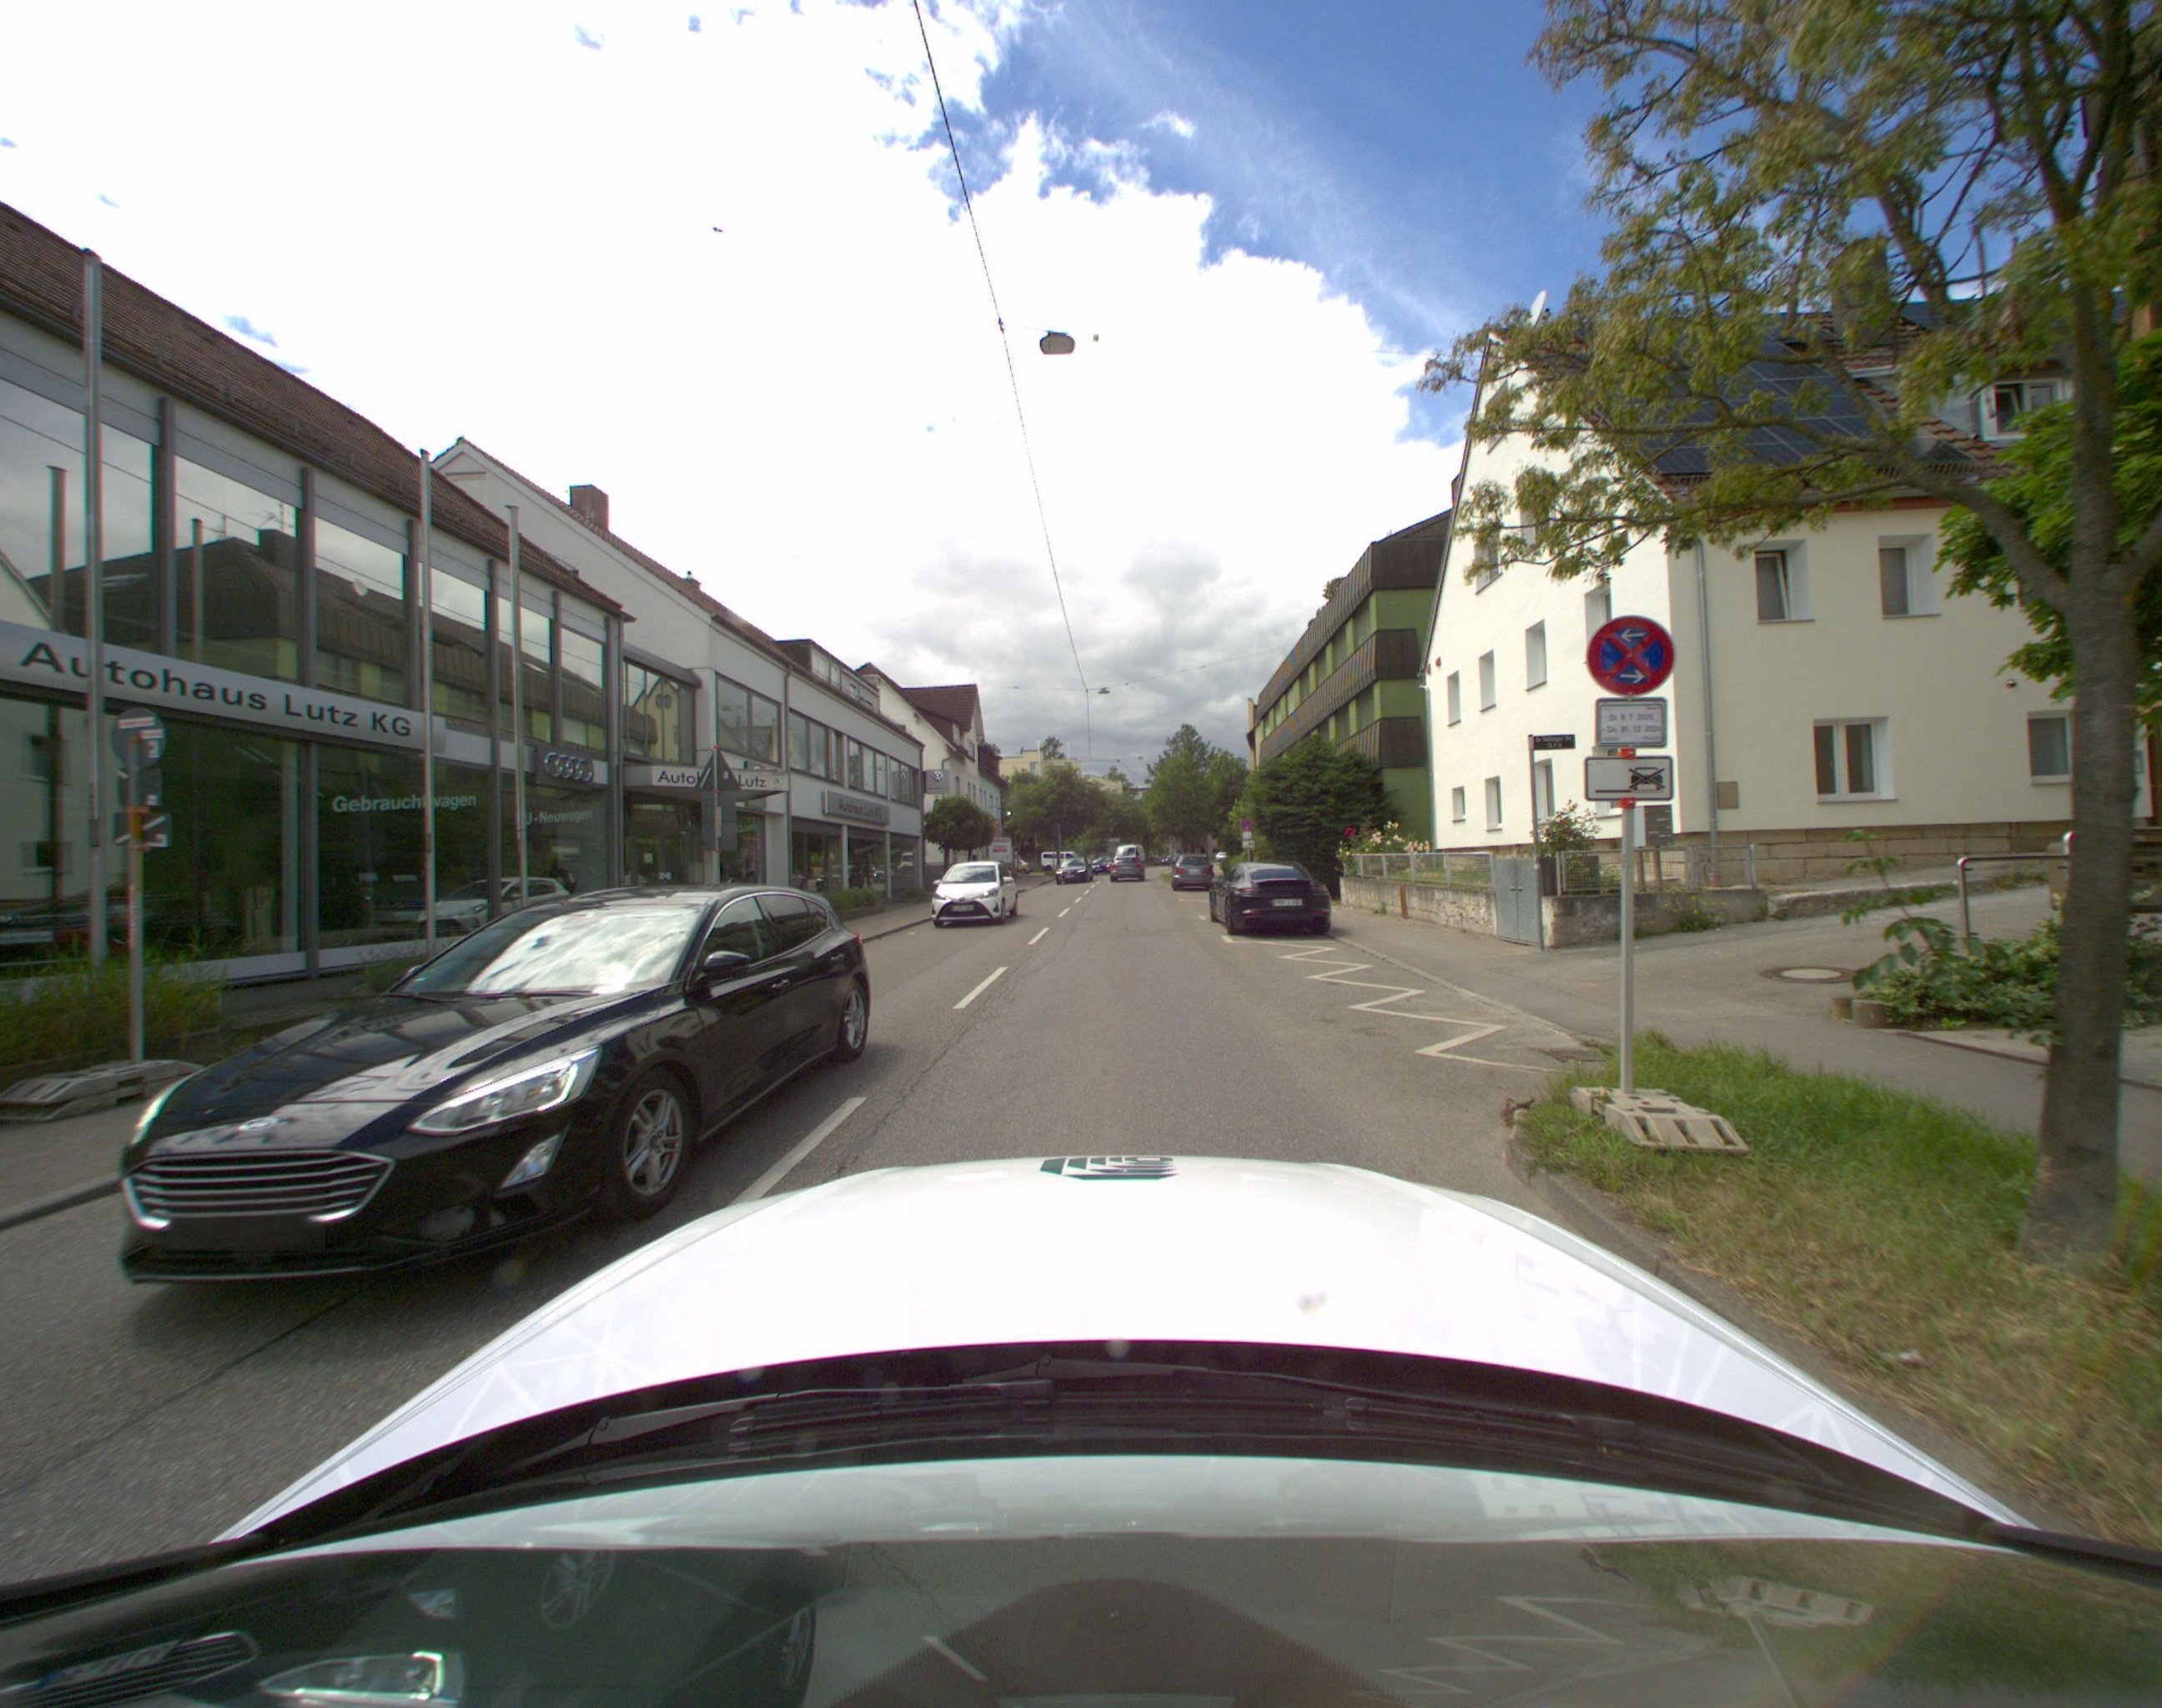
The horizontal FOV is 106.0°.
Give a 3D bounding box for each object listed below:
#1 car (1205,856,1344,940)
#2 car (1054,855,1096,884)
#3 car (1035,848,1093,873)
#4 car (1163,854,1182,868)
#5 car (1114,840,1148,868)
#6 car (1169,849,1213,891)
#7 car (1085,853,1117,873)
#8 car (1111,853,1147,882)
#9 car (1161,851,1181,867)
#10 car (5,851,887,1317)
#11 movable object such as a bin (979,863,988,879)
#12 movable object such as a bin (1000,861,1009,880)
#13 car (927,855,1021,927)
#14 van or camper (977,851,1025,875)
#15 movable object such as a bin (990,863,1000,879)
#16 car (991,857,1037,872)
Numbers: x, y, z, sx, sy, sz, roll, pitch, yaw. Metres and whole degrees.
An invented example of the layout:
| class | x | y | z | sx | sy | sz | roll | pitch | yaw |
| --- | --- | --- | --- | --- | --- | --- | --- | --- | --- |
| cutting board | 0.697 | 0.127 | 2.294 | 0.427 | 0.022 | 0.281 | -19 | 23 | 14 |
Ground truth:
| class | x | y | z | sx | sy | sz | roll | pitch | yaw |
| --- | --- | --- | --- | --- | --- | --- | --- | --- | --- |
| car | 3.860 | 0.822 | 17.091 | 1.976 | 1.448 | 4.755 | -2 | -1 | 3 |
| car | -0.324 | 0.871 | 48.611 | 1.766 | 1.523 | 4.472 | -4 | -1 | 8 |
| car | -1.686 | 0.631 | 79.806 | 5.168 | 1.993 | 2.119 | -4 | 0 | 20 |
| car | 10.776 | 0.854 | 95.631 | 1.675 | 1.482 | 4.242 | -5 | -1 | 13 |
| car | 4.762 | -0.044 | 77.340 | 2.048 | 2.353 | 5.204 | -5 | 0 | 15 |
| car | 4.863 | 0.667 | 36.344 | 1.682 | 1.666 | 4.469 | -2 | 1 | 5 |
| car | 1.562 | 0.671 | 62.127 | 1.760 | 1.425 | 4.120 | -4 | -1 | 9 |
| car | 2.776 | 0.730 | 47.059 | 1.947 | 1.523 | 4.334 | -2 | 0 | 4 |
| car | 9.043 | 0.508 | 82.434 | 1.609 | 1.523 | 3.569 | -2 | -1 | 0 |
| car | -2.680 | 0.813 | 4.856 | 1.824 | 1.523 | 4.173 | -2 | -1 | 3 |
| movable object such as a bin | -6.541 | 1.151 | 54.505 | 0.563 | 1.101 | 0.563 | 0 | -1 | -1 |
| movable object such as a bin | -5.132 | 1.111 | 54.556 | 0.563 | 1.273 | 0.563 | 0 | -1 | -1 |
| car | -2.602 | 0.880 | 20.626 | 1.683 | 1.579 | 3.802 | -2 | -1 | 2 |
| van or camper | -7.167 | 0.795 | 73.260 | 1.767 | 1.994 | 4.407 | -3 | -2 | 38 |
| movable object such as a bin | -5.748 | 1.130 | 54.527 | 0.563 | 1.101 | 0.563 | 0 | -1 | -1 |
| car | -6.362 | 1.012 | 77.576 | 3.987 | 1.413 | 1.823 | -2 | -2 | 15 |
